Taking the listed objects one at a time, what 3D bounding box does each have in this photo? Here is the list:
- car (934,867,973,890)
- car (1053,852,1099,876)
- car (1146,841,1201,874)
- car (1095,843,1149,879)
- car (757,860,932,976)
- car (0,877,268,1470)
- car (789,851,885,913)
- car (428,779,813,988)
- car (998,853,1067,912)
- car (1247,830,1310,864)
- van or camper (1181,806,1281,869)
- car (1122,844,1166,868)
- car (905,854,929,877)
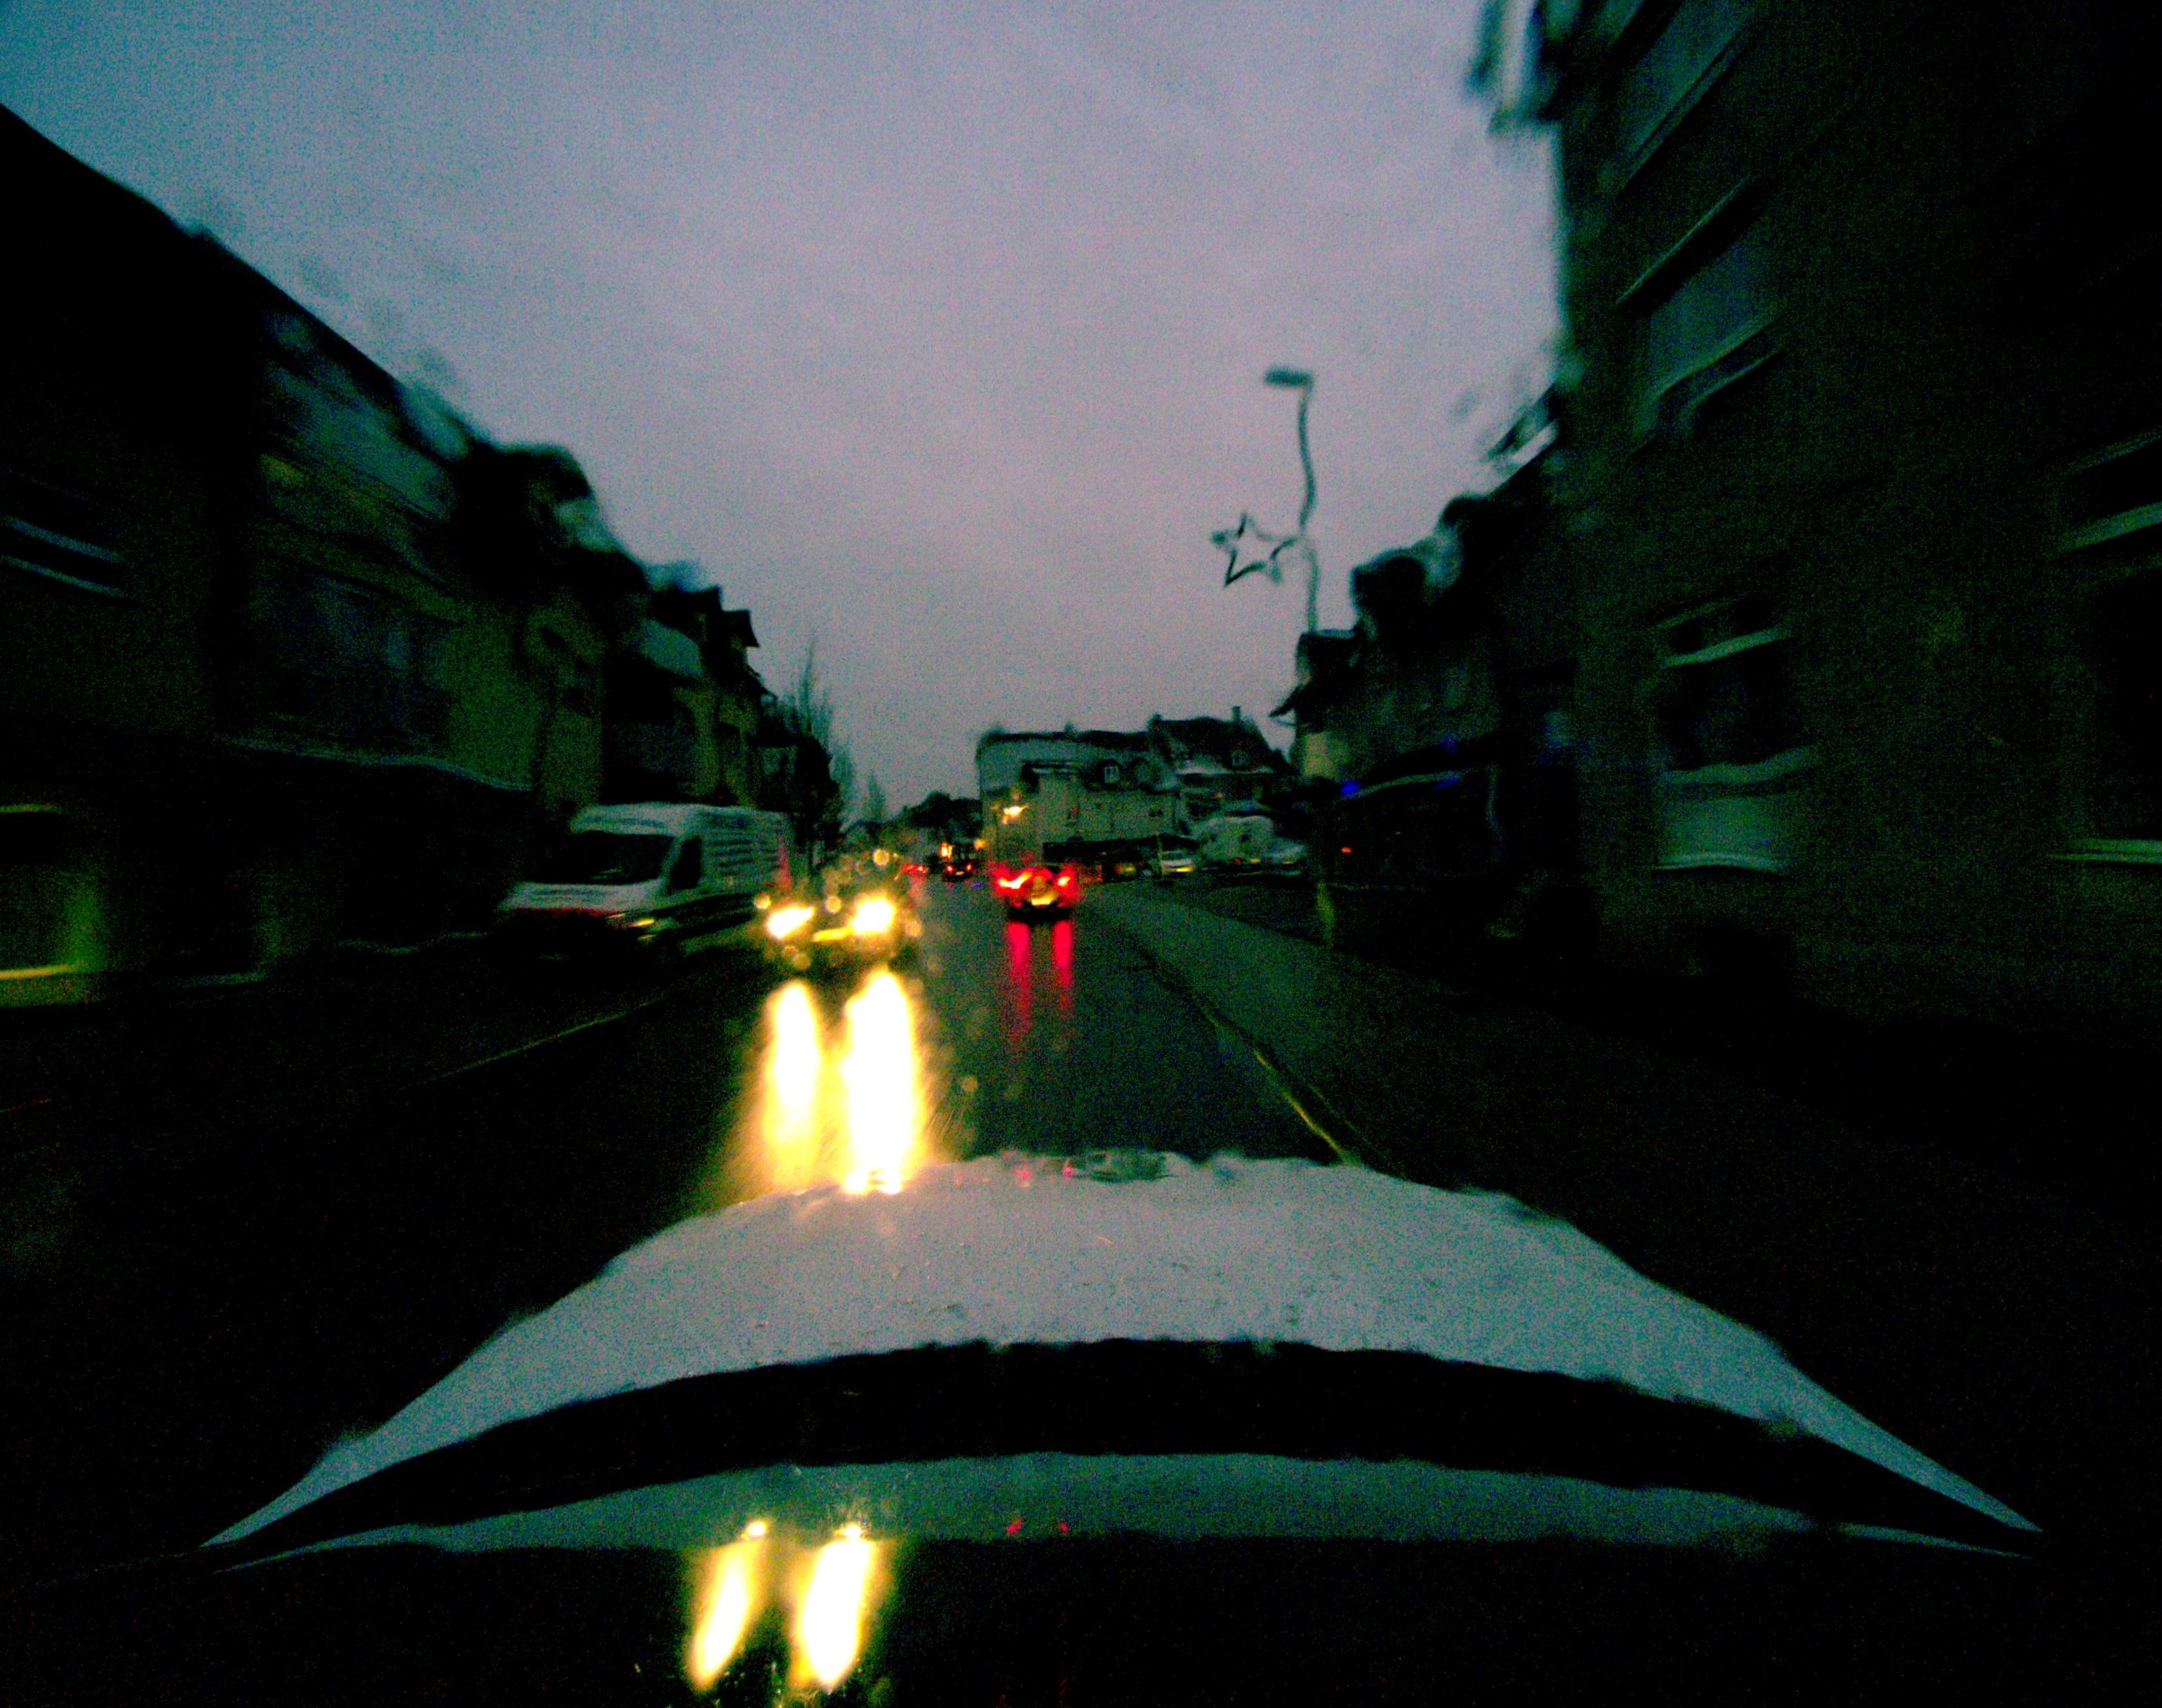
[{"bbox_3d":[-9.785,1.847,62.416,2.003,1.588,3.968,-1,0,-24],"label":"car"},{"bbox_3d":[-0.371,0.661,54.280,1.893,1.462,3.608,-2,0,-20],"label":"car"},{"bbox_3d":[5.072,0.242,45.157,1.992,1.610,4.163,-4,-1,-7],"label":"car"},{"bbox_3d":[2.202,0.377,45.118,1.993,1.765,4.336,-4,0,-9],"label":"car"},{"bbox_3d":[-3.849,0.957,14.054,1.913,1.564,4.221,-4,-1,-3],"label":"car"},{"bbox_3d":[-3.922,0.941,0.743,1.987,1.555,4.257,-2,1,0],"label":"car"},{"bbox_3d":[-8.048,0.856,27.355,1.990,1.843,5.294,-1,0,-5],"label":"car"},{"bbox_3d":[-6.824,0.410,13.477,2.477,2.560,6.760,-1,-1,0],"label":"car"},{"bbox_3d":[-1.348,0.774,23.727,1.809,1.533,3.997,-1,0,-2],"label":"car"},{"bbox_3d":[10.856,-0.373,45.061,1.789,1.553,3.985,-8,1,-11],"label":"car"},{"bbox_3d":[8.206,-0.834,45.588,2.656,3.047,6.698,-5,1,-15],"label":"van or camper"},{"bbox_3d":[4.359,0.116,57.118,1.824,1.462,4.530,-4,1,-12],"label":"car"},{"bbox_3d":[-16.519,1.168,81.923,1.997,2.202,3.979,-1,0,-15],"label":"car"}]
